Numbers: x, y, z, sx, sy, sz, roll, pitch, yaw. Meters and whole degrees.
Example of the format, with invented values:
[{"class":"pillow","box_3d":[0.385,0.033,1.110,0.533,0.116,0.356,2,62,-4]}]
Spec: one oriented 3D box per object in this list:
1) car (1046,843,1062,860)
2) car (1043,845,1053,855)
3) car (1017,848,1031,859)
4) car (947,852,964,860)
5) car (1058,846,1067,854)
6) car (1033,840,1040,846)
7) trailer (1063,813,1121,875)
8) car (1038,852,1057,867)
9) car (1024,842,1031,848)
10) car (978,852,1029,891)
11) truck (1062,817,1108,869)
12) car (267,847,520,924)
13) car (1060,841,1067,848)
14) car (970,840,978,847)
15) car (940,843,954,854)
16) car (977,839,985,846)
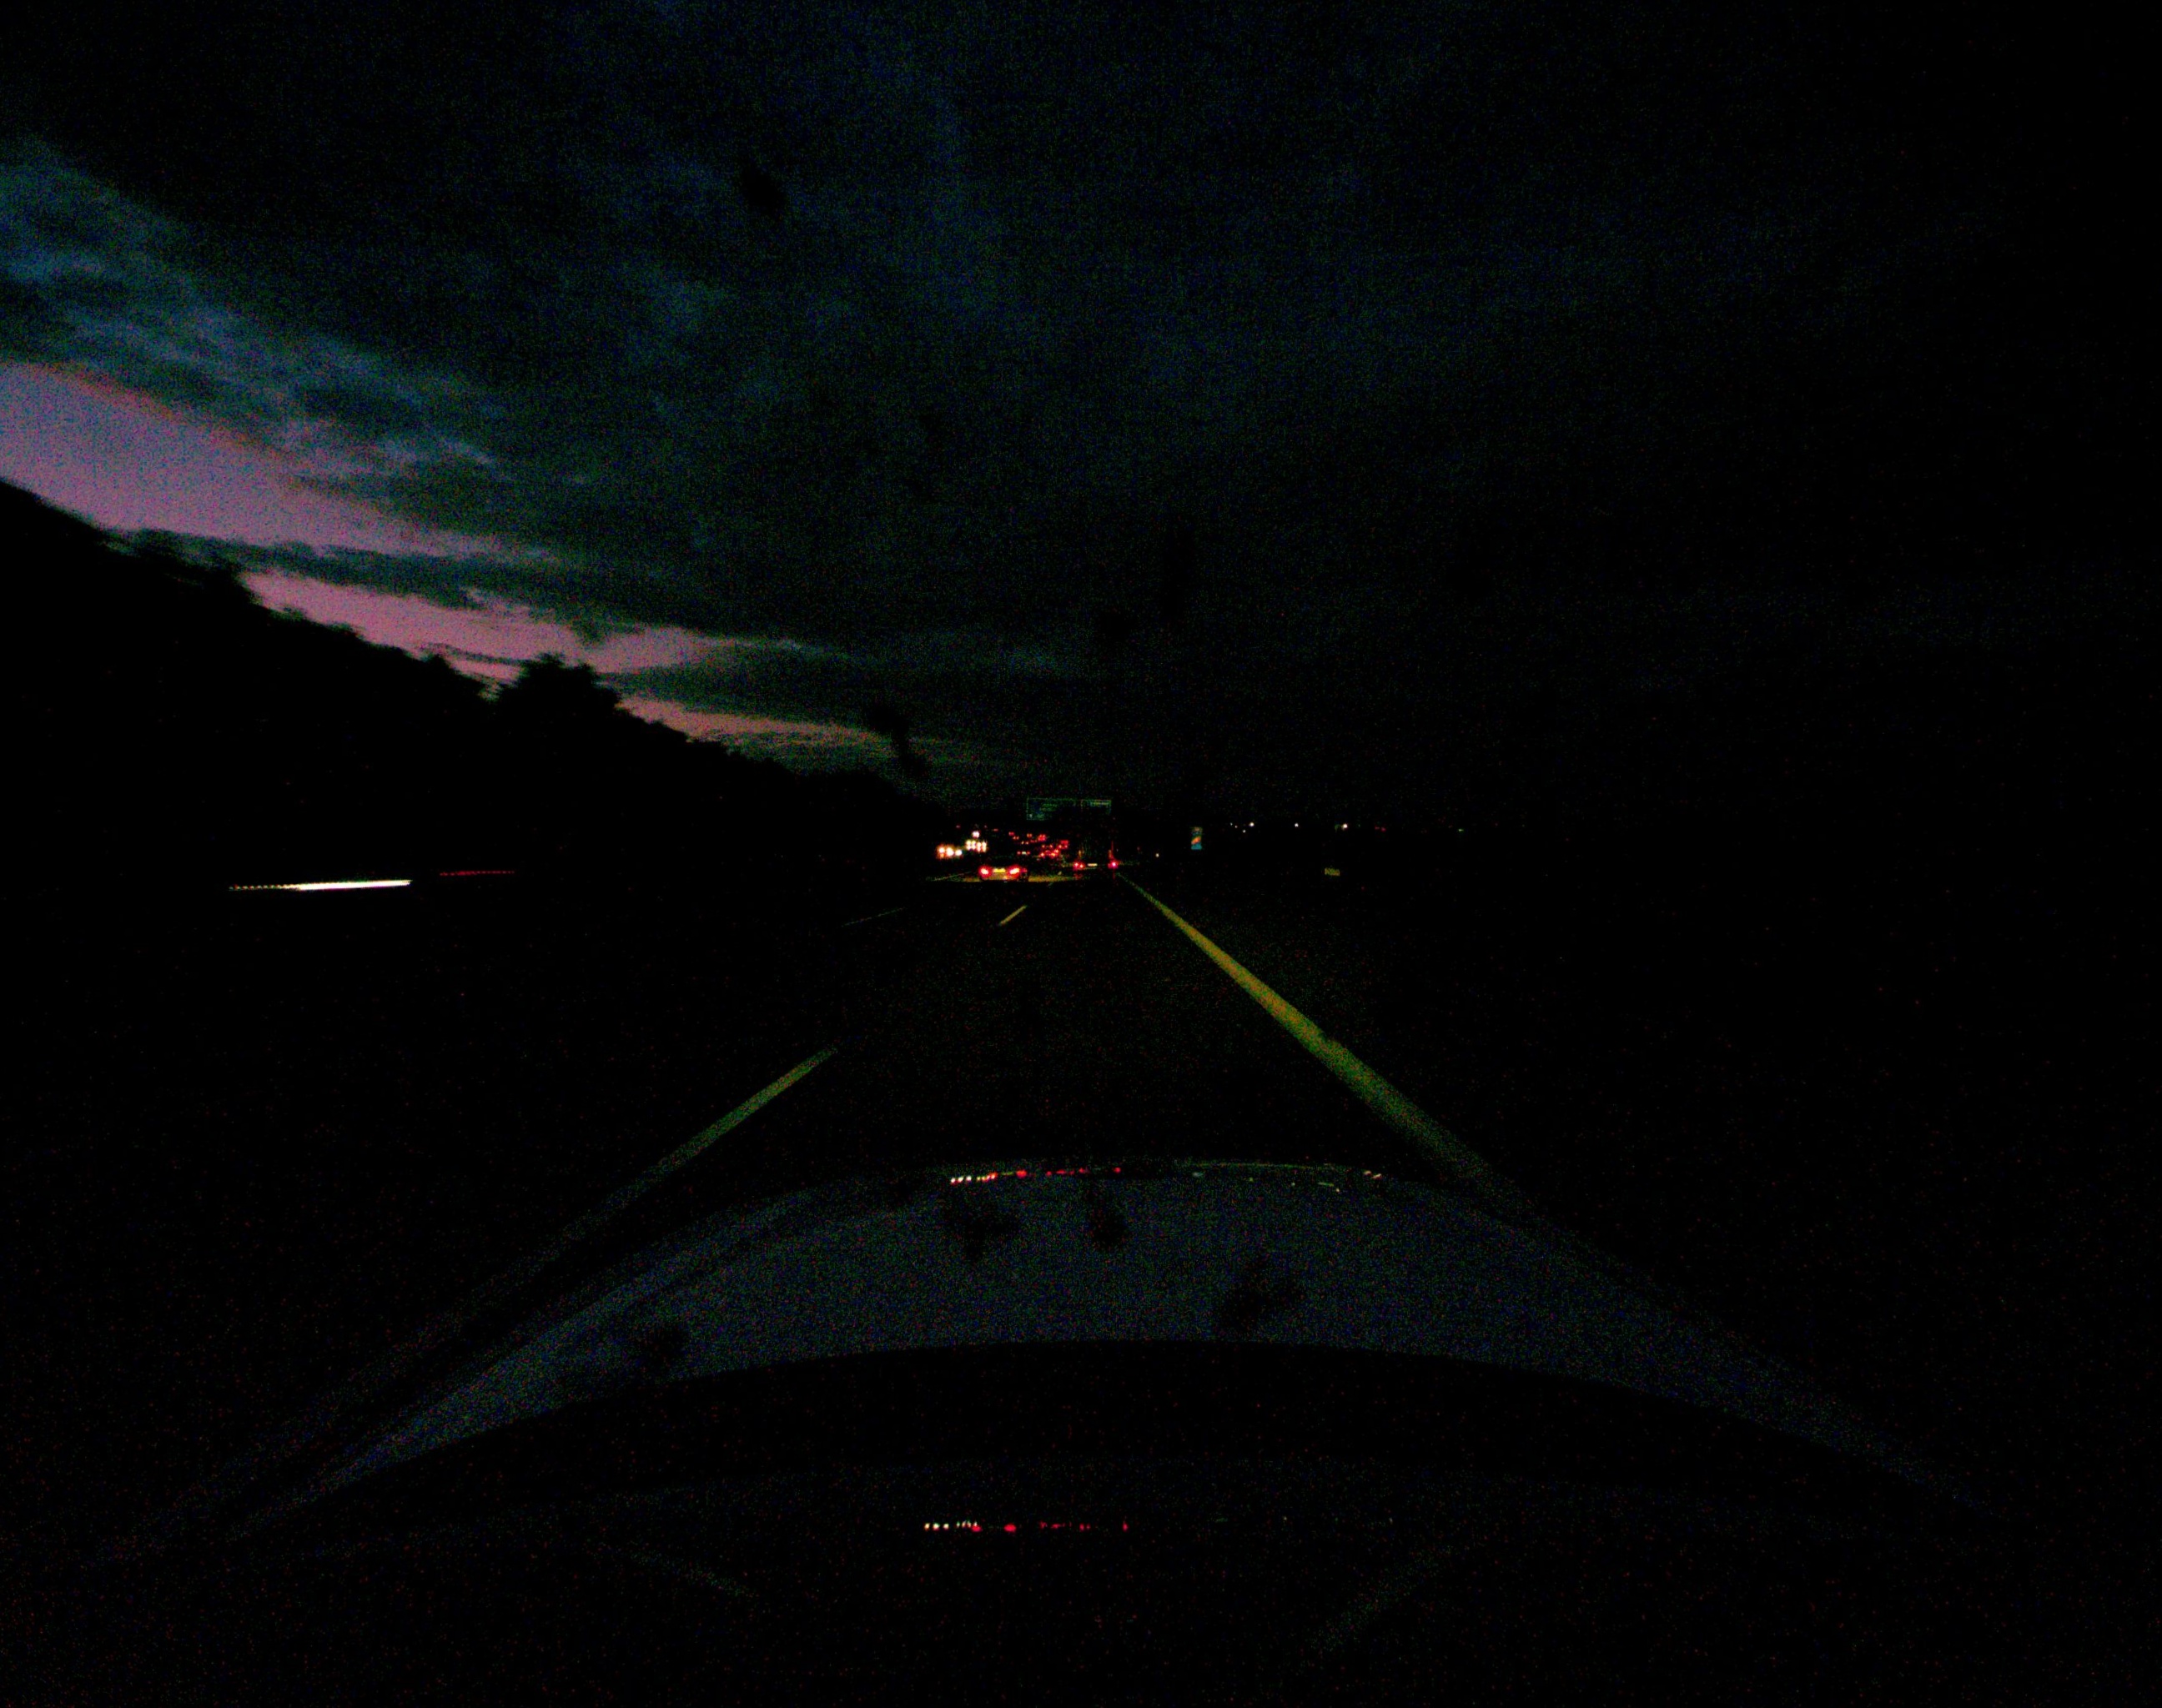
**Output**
[{"class":"car","box_3d":[-3.874,-0.302,117.398,1.992,2.380,3.990,0,-1,-7]},{"class":"car","box_3d":[-6.956,-0.887,170.126,1.988,2.014,3.997,0,-1,-2]},{"class":"car","box_3d":[-8.261,-0.077,118.071,1.756,1.575,4.575,0,-1,0]},{"class":"car","box_3d":[-20.385,0.319,132.349,2.053,1.226,5.232,0,0,0]},{"class":"car","box_3d":[-3.987,-0.867,174.676,1.987,1.534,3.999,0,-1,0]},{"class":"car","box_3d":[-14.255,-3.527,260.490,1.989,1.622,3.995,0,-1,-4]},{"class":"trailer","box_3d":[0.573,-0.835,62.620,3.542,4.116,15.049,-1,1,-3]},{"class":"car","box_3d":[-3.991,0.648,97.963,2.059,1.686,4.575,0,-1,-1]},{"class":"car","box_3d":[-15.888,-2.699,241.548,1.987,1.622,3.999,0,-1,0]},{"class":"car","box_3d":[-3.439,0.762,36.890,1.901,1.614,4.801,0,-1,-1]},{"class":"truck","box_3d":[0.256,-0.954,69.286,3.542,4.090,6.146,-1,1,-3]},{"class":"car","box_3d":[-18.787,0.803,22.814,1.906,1.867,6.015,0,-1,0]},{"class":"car","box_3d":[-4.958,-2.620,227.080,1.988,1.978,3.996,0,-1,-2]},{"class":"car","box_3d":[-32.077,-3.086,243.491,1.989,1.893,4.673,0,-1,-3]},{"class":"car","box_3d":[-25.969,-1.044,157.616,1.988,1.893,5.054,0,-1,-1]},{"class":"car","box_3d":[-27.040,-3.101,220.506,1.870,1.893,5.054,0,-1,-1]}]
